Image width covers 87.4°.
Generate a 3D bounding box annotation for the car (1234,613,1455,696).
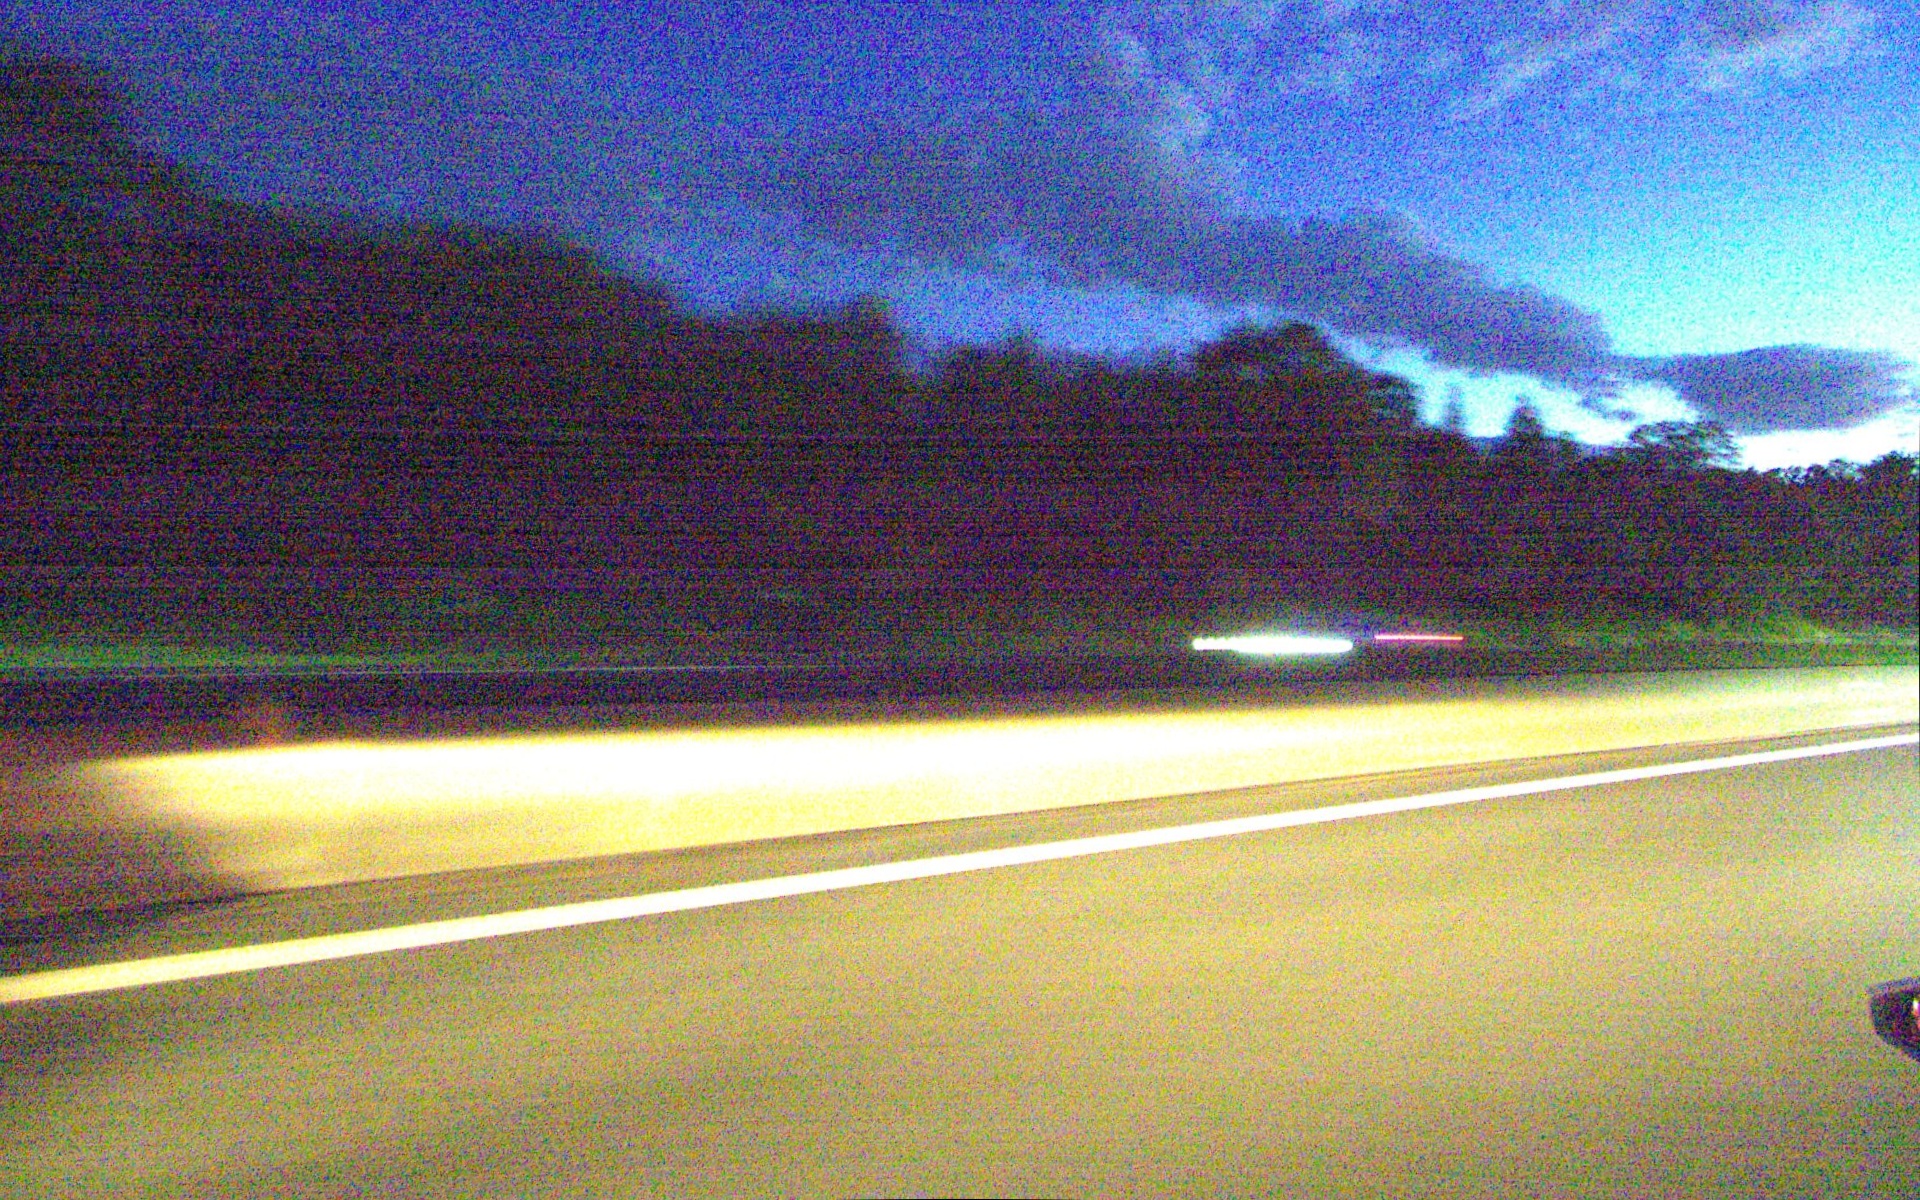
[{"bbox_3d":[8.749,1.188,22.763,4.888,1.692,2.001,1,-1,-29],"label":"car"}]
